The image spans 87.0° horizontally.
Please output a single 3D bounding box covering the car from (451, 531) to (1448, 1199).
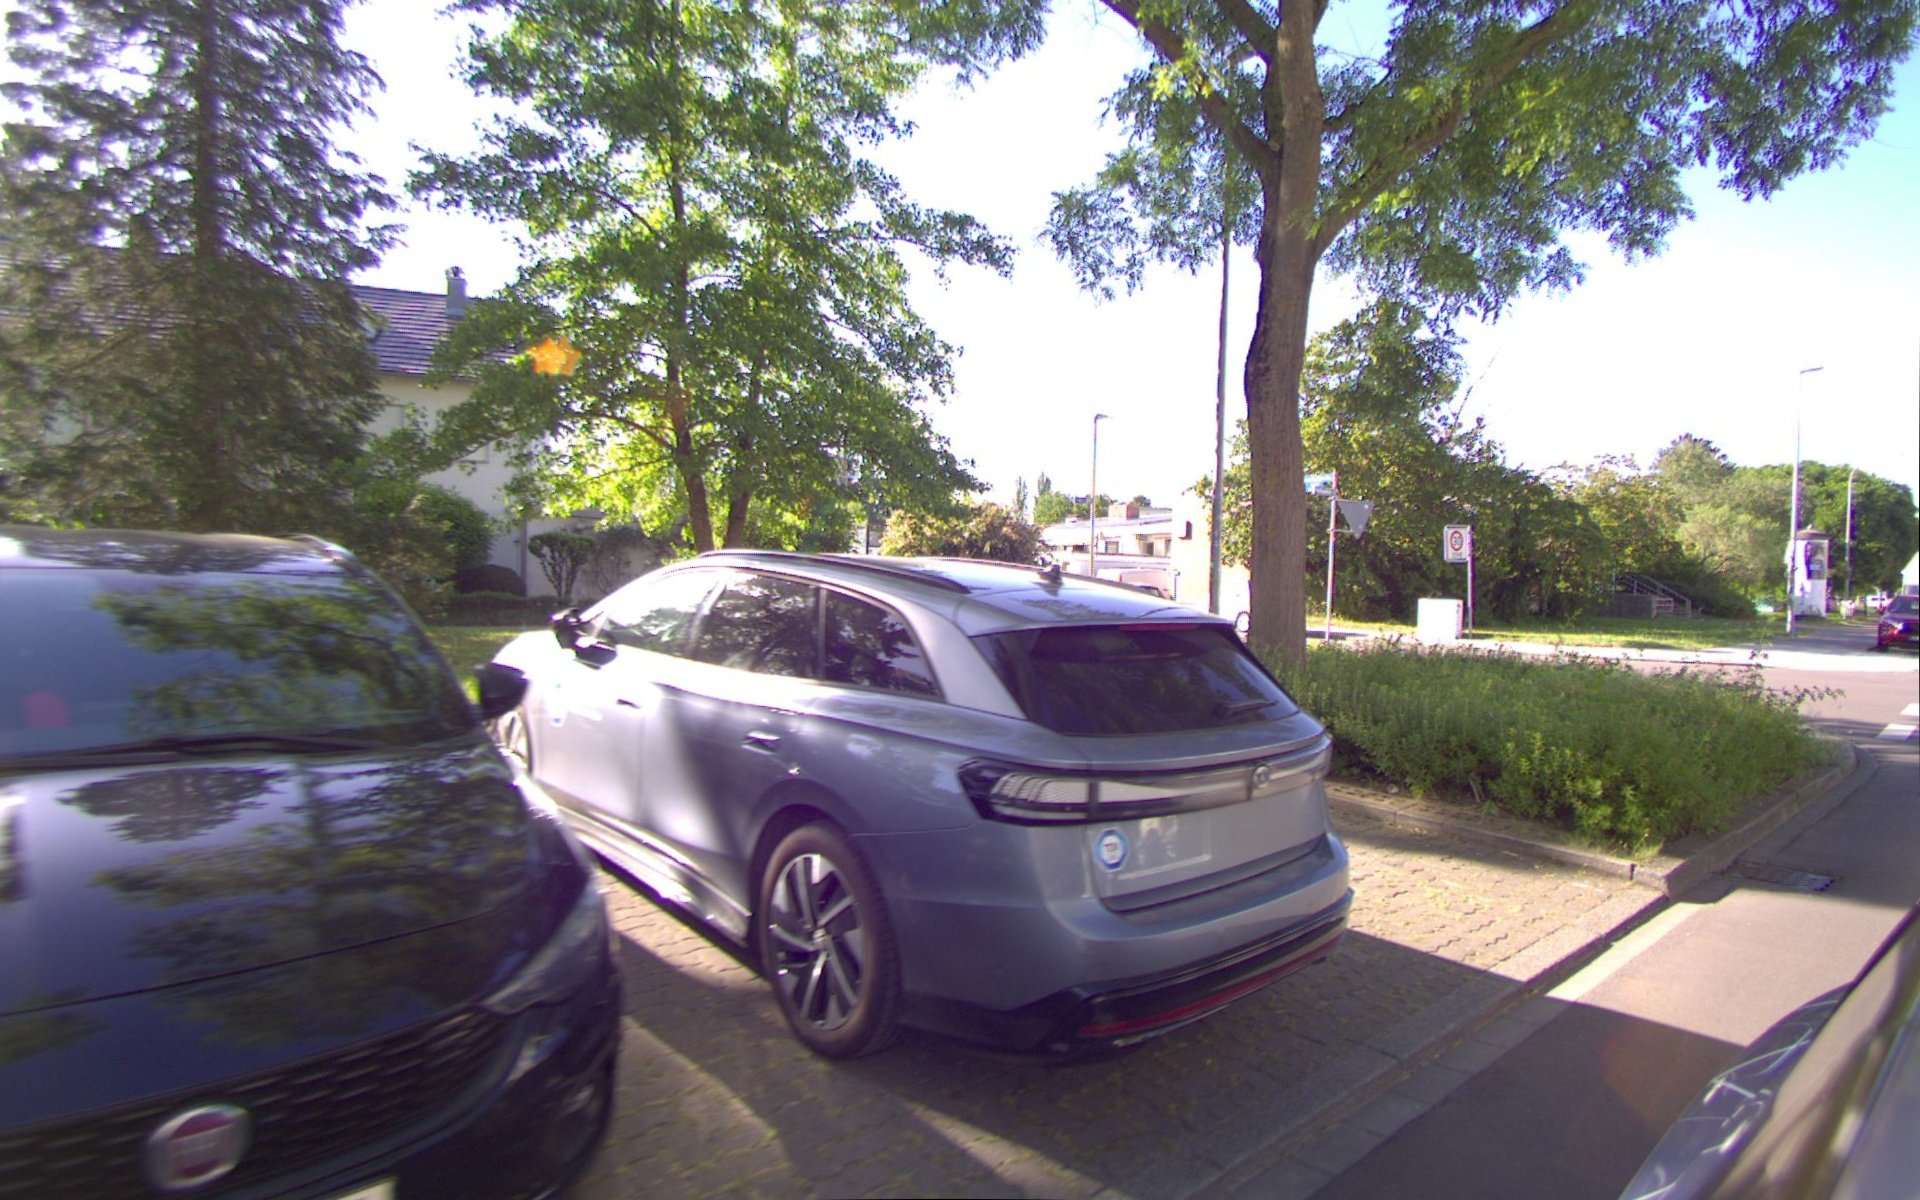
[{"bbox_3d":[-0.612,0.543,4.703,1.977,1.568,4.790,0,2,-41],"label":"car"}]

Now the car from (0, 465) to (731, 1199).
[{"bbox_3d":[-2.506,0.539,3.170,1.706,1.591,4.438,0,2,-39],"label":"car"}]

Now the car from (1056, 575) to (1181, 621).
[{"bbox_3d":[5.506,-0.107,35.707,1.929,1.428,4.504,1,2,-30],"label":"car"}]

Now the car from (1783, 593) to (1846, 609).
[{"bbox_3d":[80.228,0.095,95.031,1.717,1.354,4.428,2,0,-45],"label":"car"}]

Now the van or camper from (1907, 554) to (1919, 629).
[{"bbox_3d":[39.857,-0.293,40.624,2.498,2.880,6.742,3,2,44],"label":"van or camper"}]

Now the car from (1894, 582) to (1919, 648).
[{"bbox_3d":[27.254,0.434,28.098,1.776,1.700,4.572,6,4,43],"label":"car"}]

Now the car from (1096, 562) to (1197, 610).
[{"bbox_3d":[7.772,-0.573,42.099,3.919,1.892,1.701,1,1,-29],"label":"car"}]

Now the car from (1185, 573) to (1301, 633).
[{"bbox_3d":[8.475,0.068,30.479,1.667,1.583,2.967,4,0,-31],"label":"car"}]

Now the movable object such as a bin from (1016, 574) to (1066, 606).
[{"bbox_3d":[3.714,-0.484,46.668,1.215,1.390,2.574,1,1,-23],"label":"movable object such as a bin"}]
